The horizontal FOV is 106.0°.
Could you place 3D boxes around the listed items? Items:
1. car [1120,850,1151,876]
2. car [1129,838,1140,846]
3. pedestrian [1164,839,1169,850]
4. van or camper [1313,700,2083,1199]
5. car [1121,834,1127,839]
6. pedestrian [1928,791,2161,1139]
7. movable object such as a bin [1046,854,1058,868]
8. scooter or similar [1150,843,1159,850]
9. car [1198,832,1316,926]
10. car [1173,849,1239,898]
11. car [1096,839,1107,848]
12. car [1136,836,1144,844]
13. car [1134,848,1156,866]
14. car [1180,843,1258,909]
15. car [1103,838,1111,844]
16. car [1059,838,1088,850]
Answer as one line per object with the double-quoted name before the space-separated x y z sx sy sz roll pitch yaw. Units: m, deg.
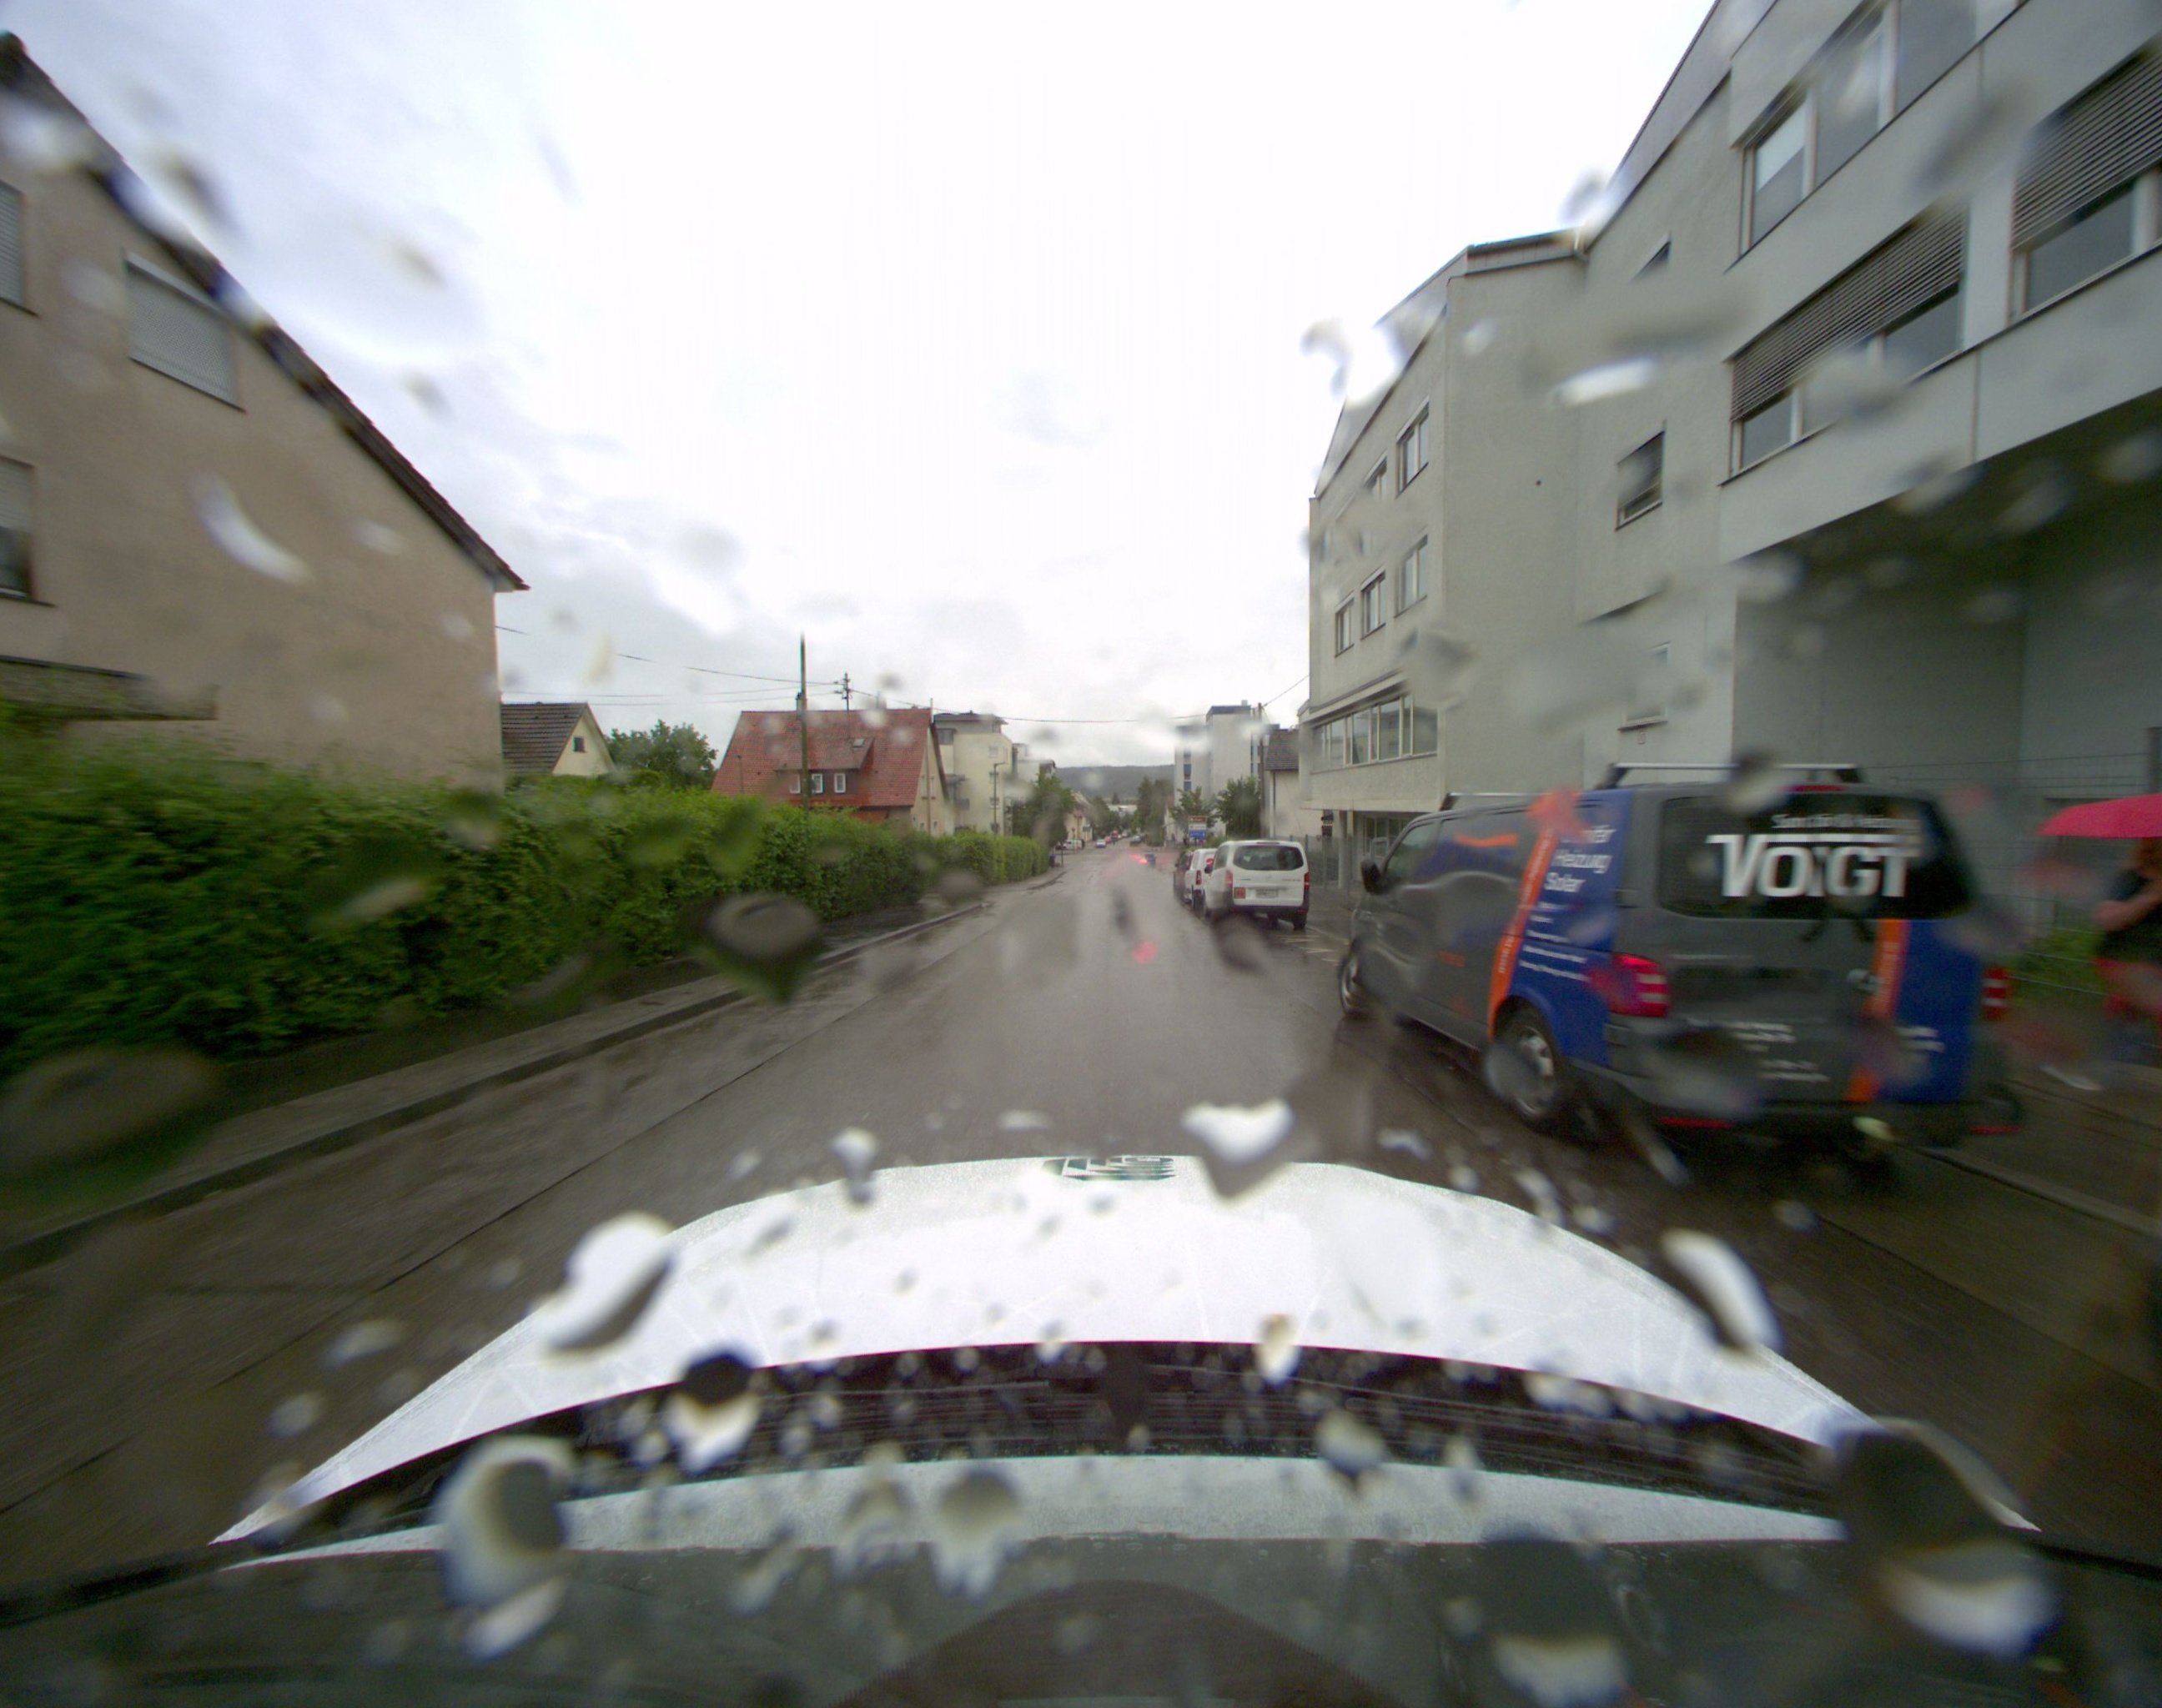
"car" 3.938 0.640 59.192 1.986 1.683 4.002 -2 2 1
"car" 11.498 -2.492 175.510 2.137 1.589 4.133 -2 1 4
"pedestrian" 14.016 -1.550 133.553 0.646 1.647 0.525 2 1 -3
"van or camper" 3.411 0.398 6.138 1.986 2.113 5.206 -2 0 2
"car" 13.086 -5.393 248.461 1.893 1.558 4.196 -2 1 4
"pedestrian" 5.854 0.532 4.621 1.020 1.758 1.031 -2 1 0
"movable object such as a bin" -2.908 0.671 81.861 1.067 1.347 1.319 1 0 1
"scooter or similar" 11.959 -1.260 132.298 1.264 1.081 0.876 -2 1 -2
"car" 4.015 0.513 19.453 1.985 1.935 4.980 -1 0 3
"car" 4.571 0.666 30.454 1.985 1.644 4.963 -1 0 3
"car" 4.102 -2.022 162.018 1.985 1.625 4.196 -2 1 4
"car" 14.223 -3.467 197.370 1.893 1.745 4.196 -2 1 4
"car" 6.666 0.263 85.351 1.986 1.683 4.002 -2 2 1
"car" 4.161 0.605 25.118 1.870 1.833 4.493 -1 0 3
"car" 6.386 -3.179 198.437 1.893 1.558 4.196 -2 1 4
"car" -1.264 -1.808 142.577 4.865 1.835 1.978 -3 2 -35
